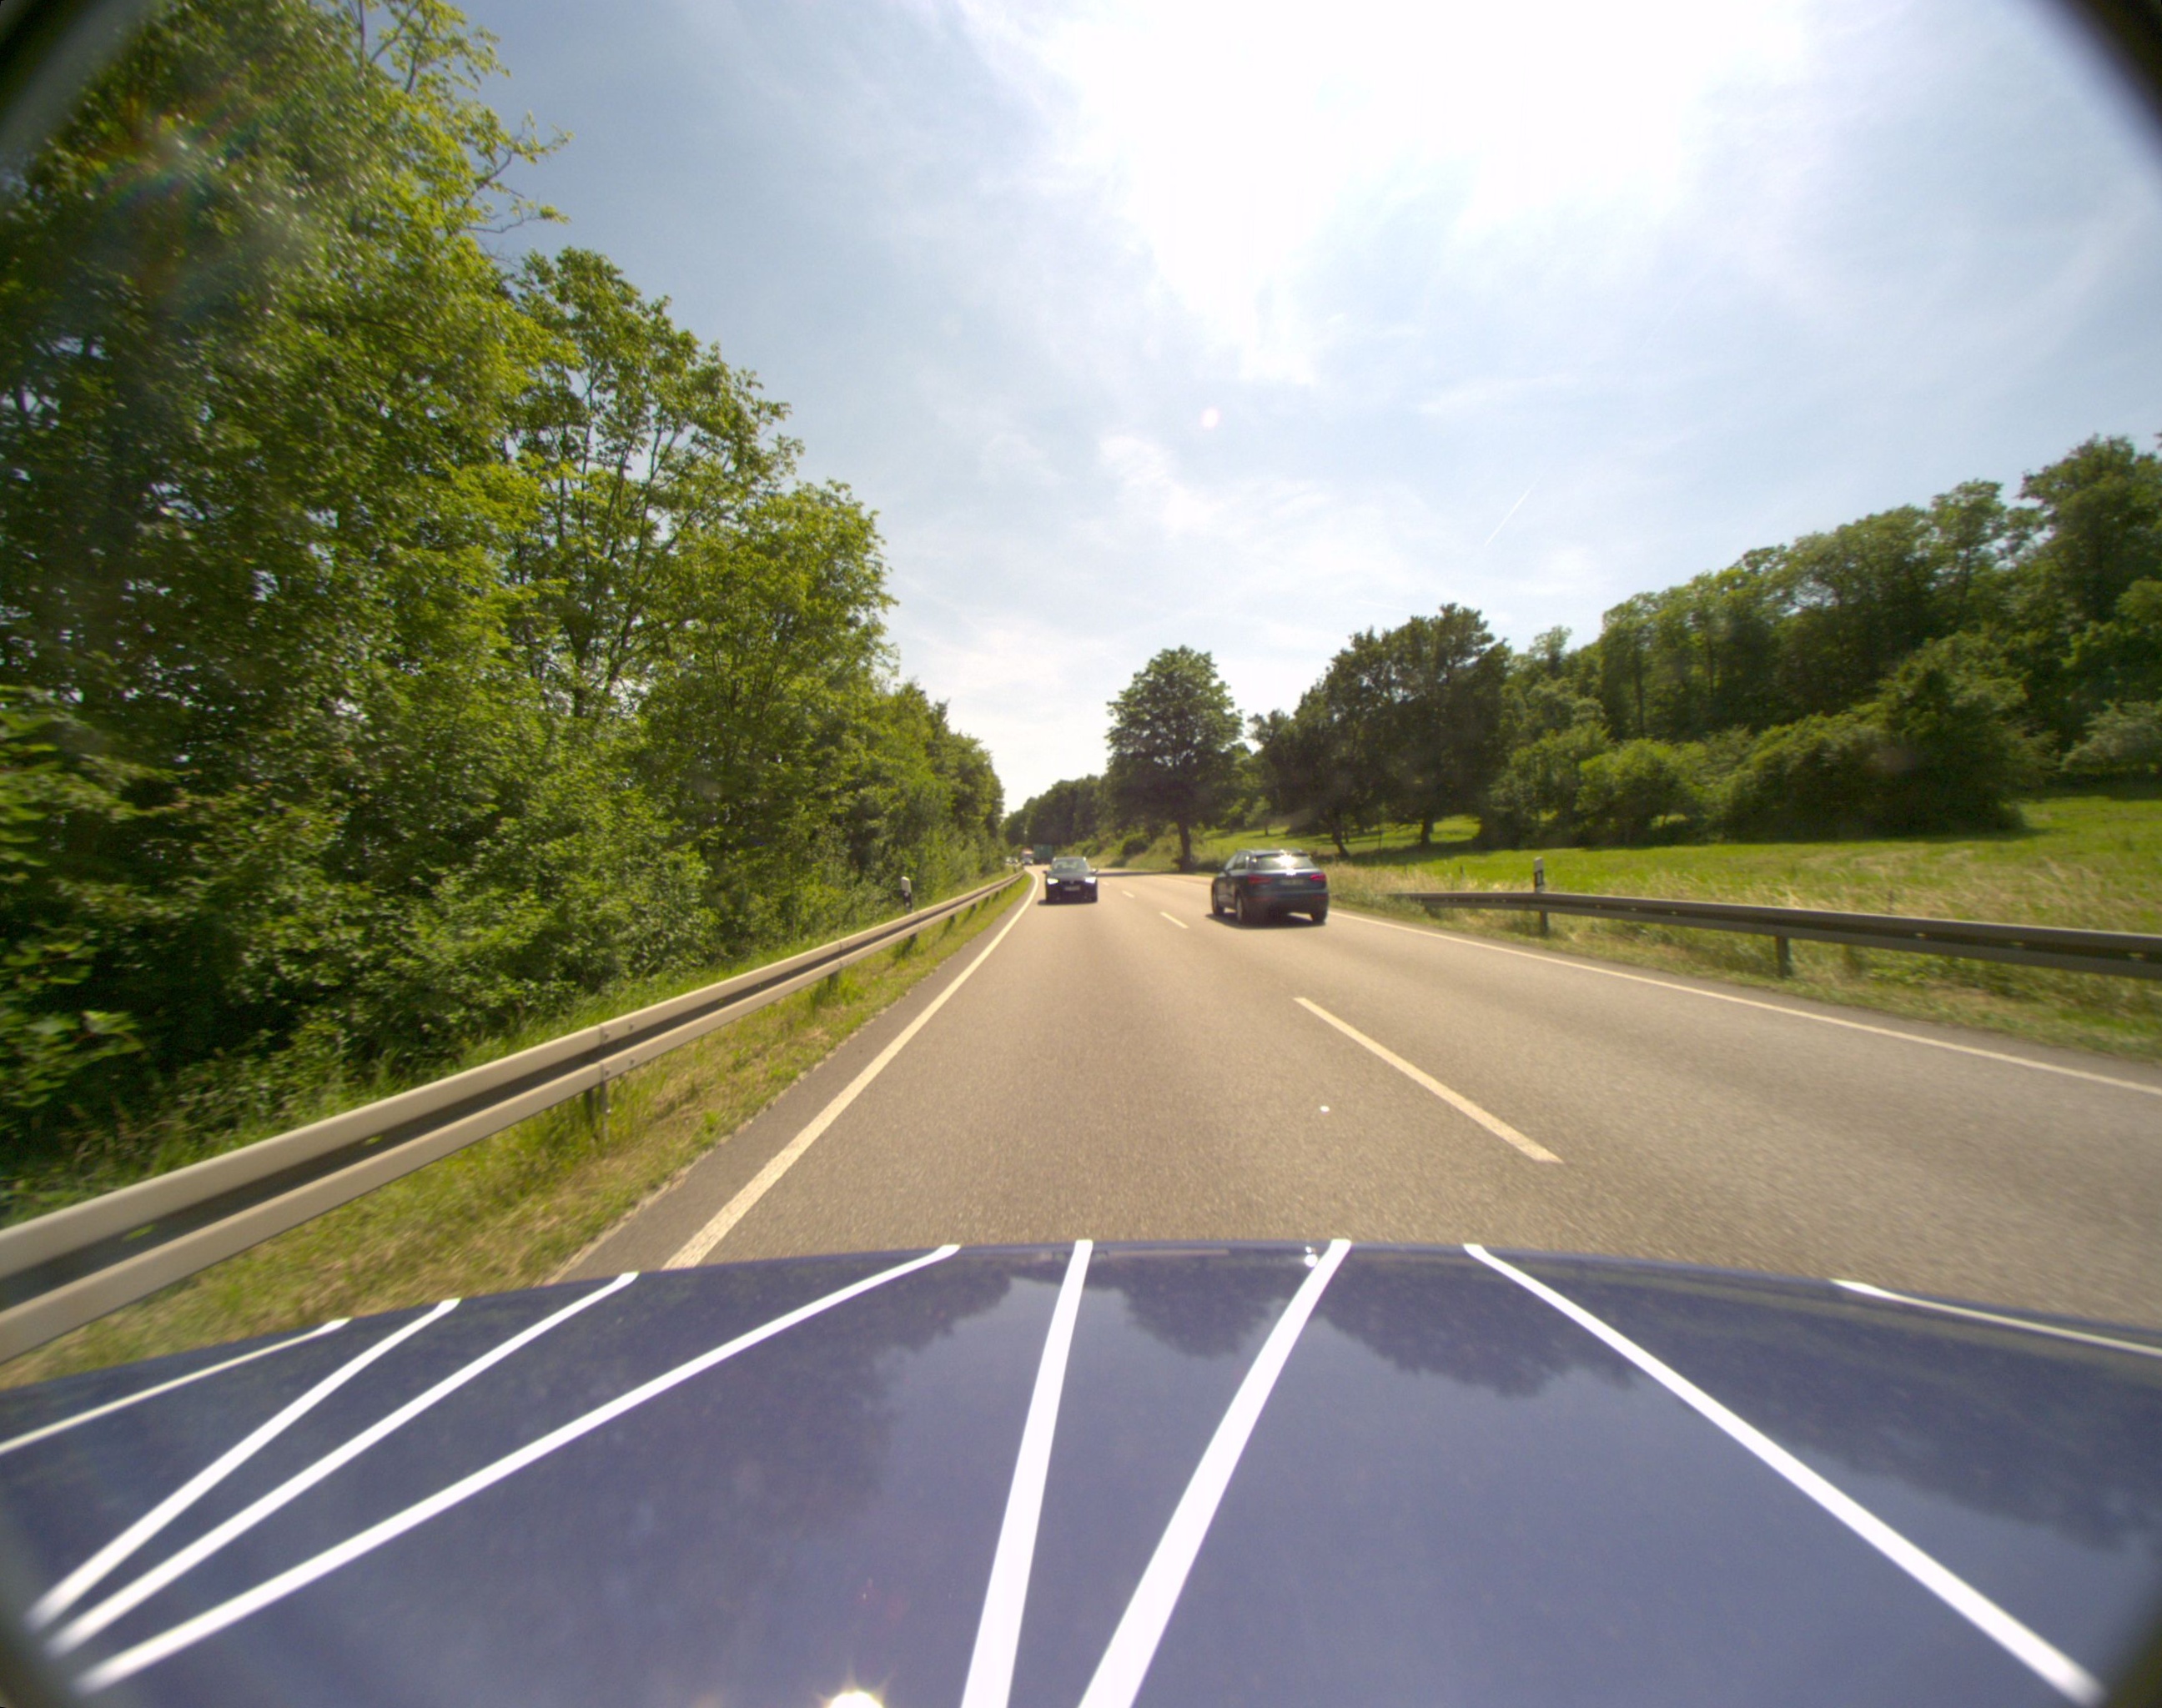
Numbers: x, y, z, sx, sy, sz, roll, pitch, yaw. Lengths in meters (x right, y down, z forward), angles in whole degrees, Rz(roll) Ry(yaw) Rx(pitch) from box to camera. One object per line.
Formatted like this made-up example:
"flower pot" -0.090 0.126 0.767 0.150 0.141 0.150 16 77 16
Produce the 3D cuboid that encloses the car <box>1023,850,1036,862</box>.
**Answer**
"car" -9.067 0.301 134.223 1.999 2.002 3.997 -3 1 -6

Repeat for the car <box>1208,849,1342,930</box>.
"car" 4.110 0.689 16.758 1.868 1.518 3.890 -2 0 -1

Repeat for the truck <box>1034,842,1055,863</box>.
"truck" -7.207 -0.240 148.377 2.568 3.916 16.150 -3 0 -7

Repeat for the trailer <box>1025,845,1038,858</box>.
"trailer" -11.670 -0.526 178.381 2.652 2.856 7.072 -1 1 -7

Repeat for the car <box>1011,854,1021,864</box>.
"car" -14.540 1.061 169.541 2.000 2.002 3.996 -3 1 -9

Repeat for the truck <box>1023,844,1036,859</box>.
"truck" -12.605 -0.725 185.486 2.539 3.539 7.755 -1 1 -7

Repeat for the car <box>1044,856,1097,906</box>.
"car" -0.407 0.885 26.227 1.662 1.531 3.486 -2 0 -2
